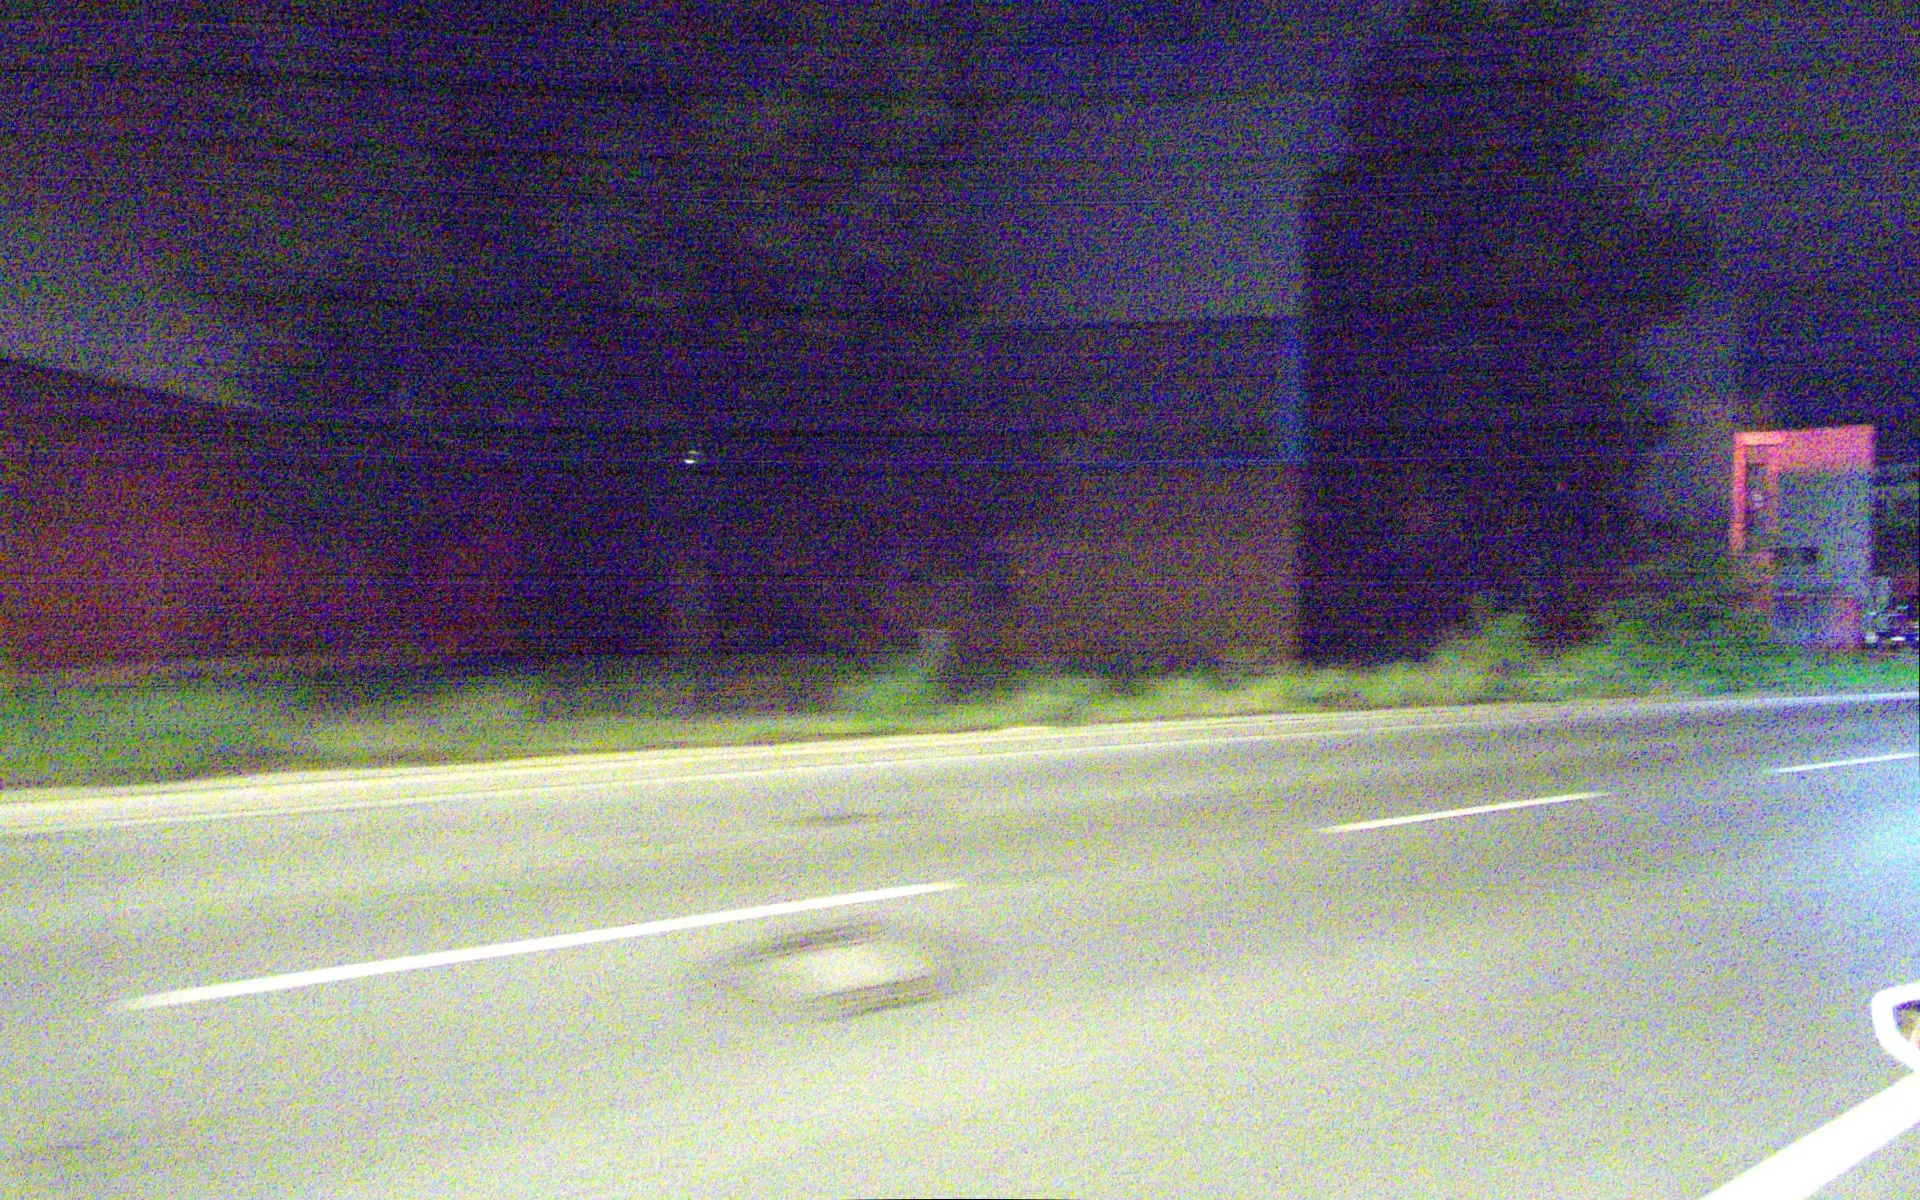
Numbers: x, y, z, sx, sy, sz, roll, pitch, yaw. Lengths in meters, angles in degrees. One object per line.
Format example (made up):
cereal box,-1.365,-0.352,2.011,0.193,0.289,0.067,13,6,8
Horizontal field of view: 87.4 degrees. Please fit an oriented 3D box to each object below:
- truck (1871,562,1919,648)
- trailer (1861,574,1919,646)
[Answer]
truck,45.922,0.319,48.267,2.905,3.847,9.508,2,0,41
trailer,52.598,0.576,56.441,2.582,3.841,6.484,2,0,40
